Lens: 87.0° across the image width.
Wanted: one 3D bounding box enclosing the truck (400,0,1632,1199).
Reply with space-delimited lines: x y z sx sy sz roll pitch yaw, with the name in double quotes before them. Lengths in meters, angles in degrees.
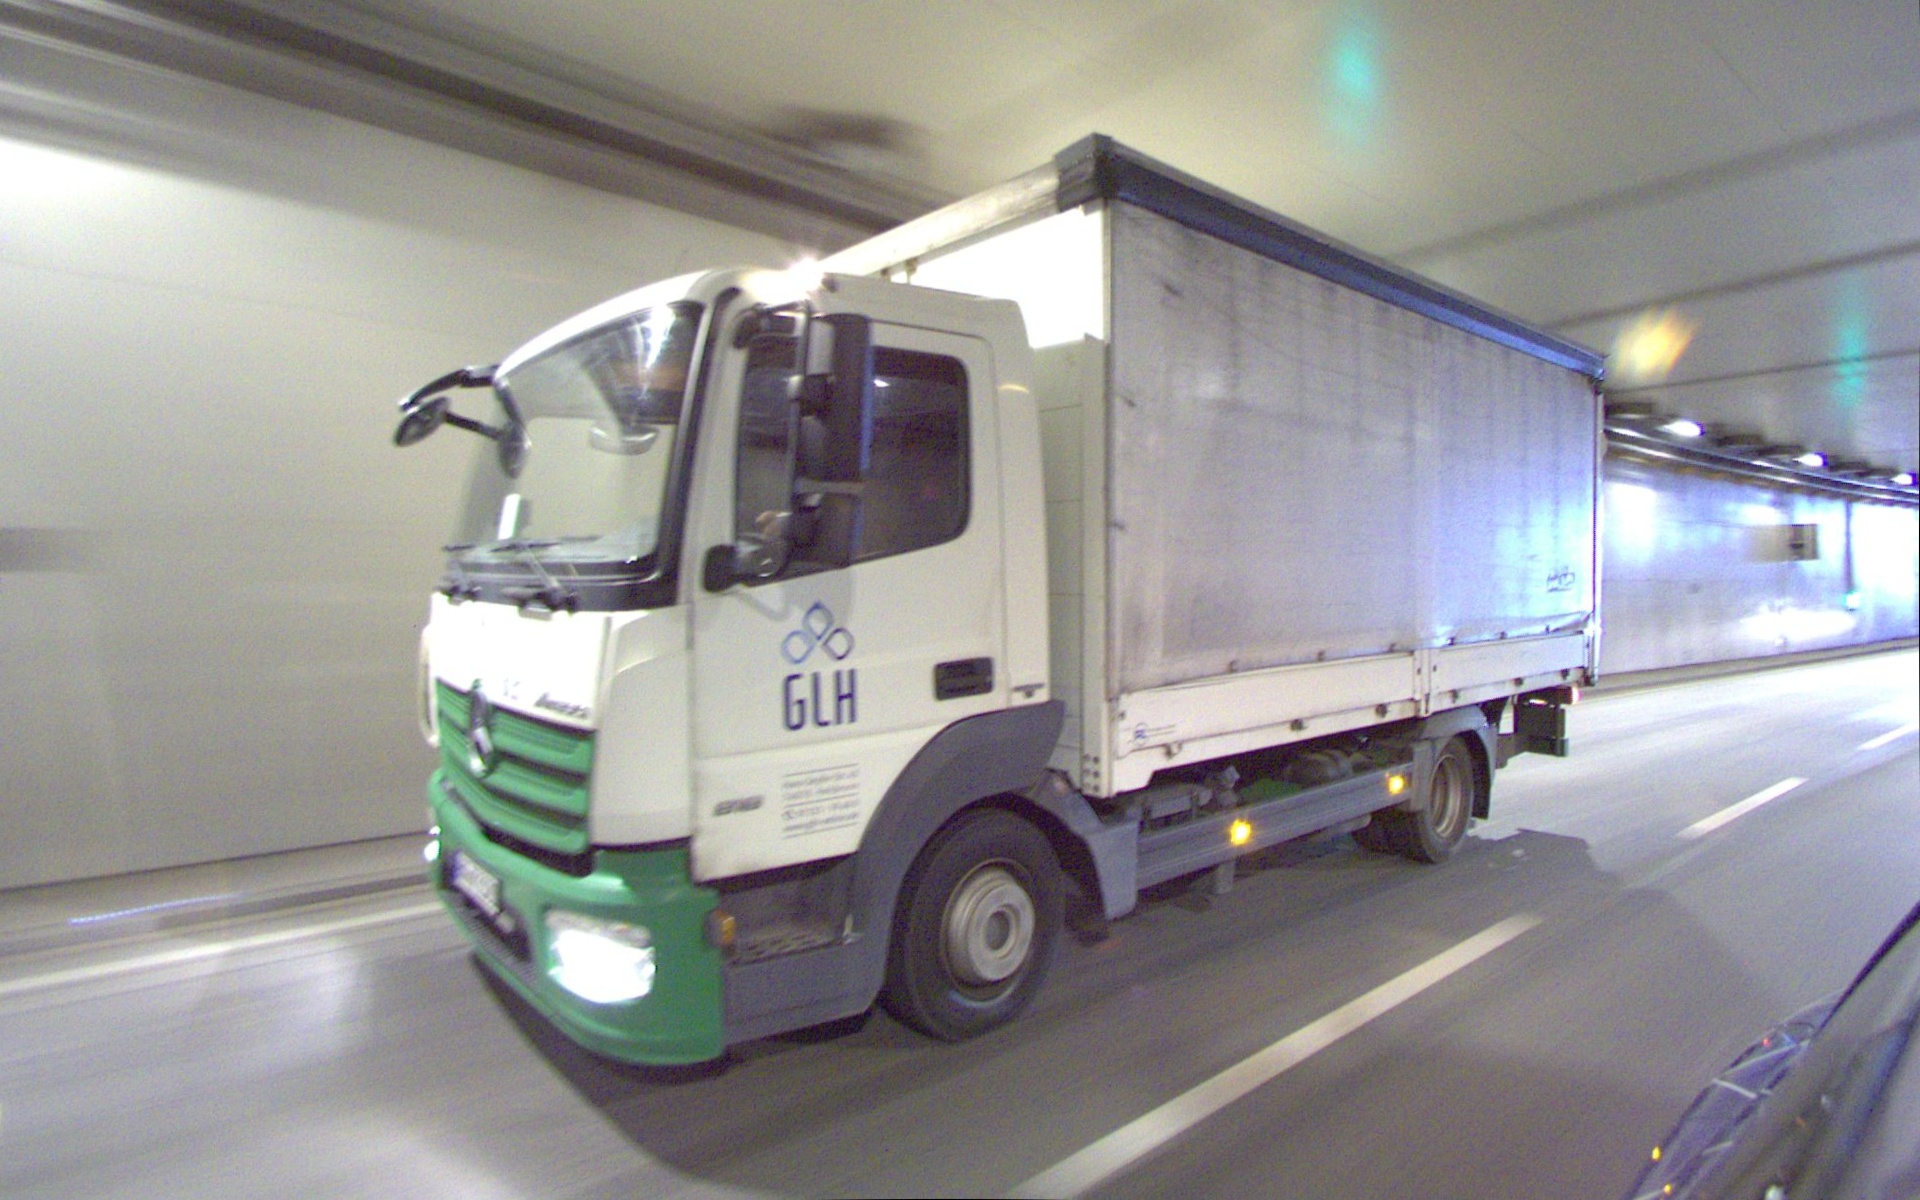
"truck" 1.142 -0.178 5.659 7.118 3.221 2.558 0 -1 -41
